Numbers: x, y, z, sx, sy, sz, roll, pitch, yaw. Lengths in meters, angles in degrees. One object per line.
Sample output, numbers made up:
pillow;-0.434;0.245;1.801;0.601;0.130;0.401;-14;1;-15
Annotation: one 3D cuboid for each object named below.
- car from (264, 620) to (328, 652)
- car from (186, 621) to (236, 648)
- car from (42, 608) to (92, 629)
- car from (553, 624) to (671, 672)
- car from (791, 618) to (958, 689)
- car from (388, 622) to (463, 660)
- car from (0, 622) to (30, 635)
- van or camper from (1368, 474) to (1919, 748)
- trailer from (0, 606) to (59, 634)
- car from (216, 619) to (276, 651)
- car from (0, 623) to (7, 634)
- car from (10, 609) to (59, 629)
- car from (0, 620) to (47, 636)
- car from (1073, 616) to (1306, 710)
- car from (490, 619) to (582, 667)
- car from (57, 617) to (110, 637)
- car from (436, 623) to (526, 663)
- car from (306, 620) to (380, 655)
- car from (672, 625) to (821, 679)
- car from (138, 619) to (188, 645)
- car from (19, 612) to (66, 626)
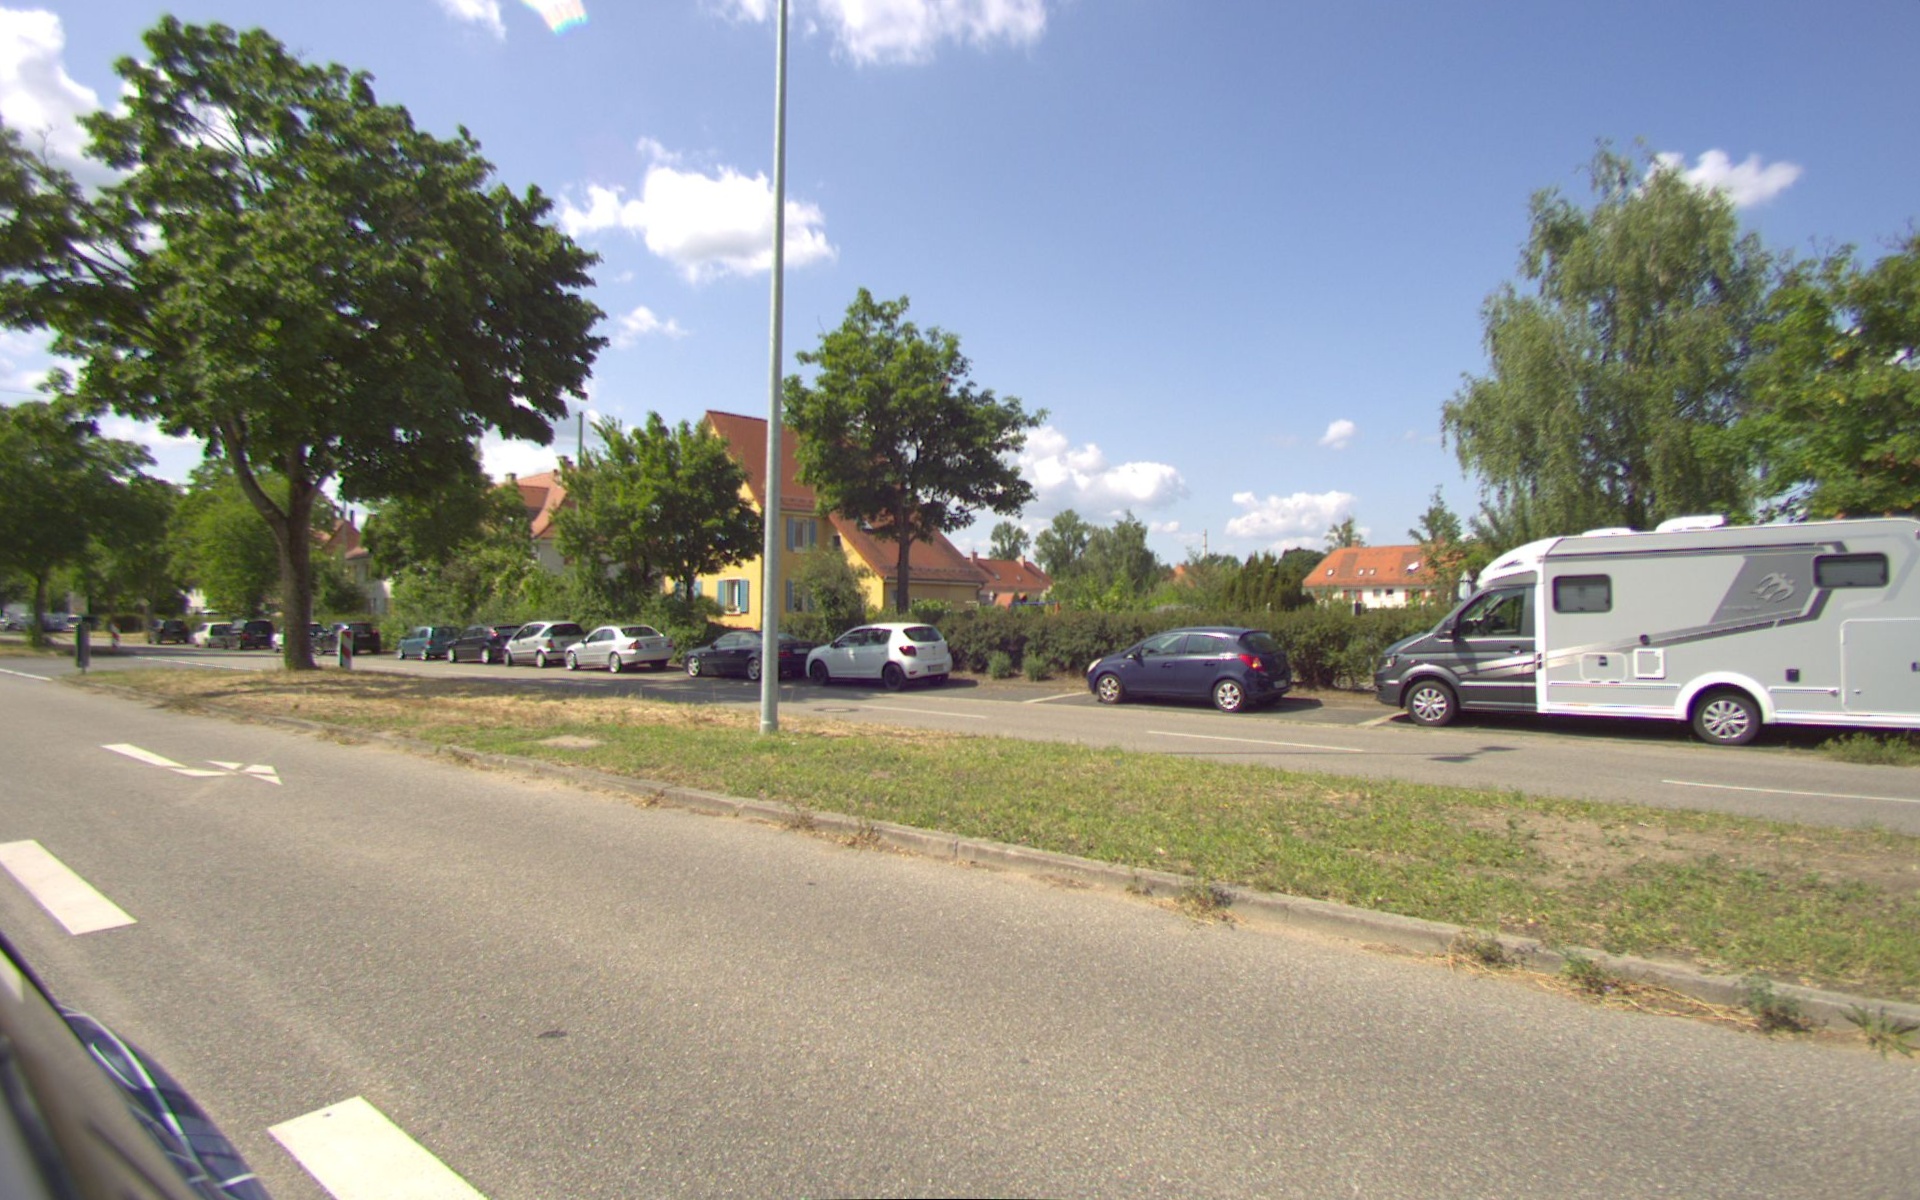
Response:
car;-34.055;1.827;51.891;3.842;1.462;1.644;0;1;39
car;-44.990;2.027;60.778;3.531;1.472;1.578;0;1;39
car;-91.270;1.866;103.488;1.778;2.029;4.003;-1;1;-3
car;-11.104;1.483;32.096;4.529;1.380;1.495;-1;0;42
car;-2.145;1.234;24.643;4.122;1.496;1.671;0;1;42
car;-22.079;1.659;41.778;3.474;1.405;1.547;0;1;40
car;-119.000;3.533;126.893;1.646;1.475;3.828;-1;1;-9
van or camper;9.859;0.165;14.187;7.320;3.135;2.234;-2;0;43
trailer;-110.614;2.300;120.308;2.781;3.132;5.768;-2;0;-13
car;-39.952;1.931;56.590;4.310;1.624;1.644;0;1;39
car;-126.558;3.798;131.762;1.646;1.358;3.828;-1;1;-9
car;-98.771;2.032;108.067;1.778;2.029;4.003;-1;1;-3
car;-102.785;3.070;110.877;1.799;1.521;3.947;0;1;40
car;4.248;1.098;19.076;3.991;1.496;1.619;0;1;42
car;-14.957;1.473;35.648;3.739;1.569;1.388;-1;0;40
car;-84.055;2.576;97.078;1.778;1.874;4.003;-1;-1;-3
car;-18.212;1.596;38.403;4.353;1.405;1.388;-1;0;40
car;-28.994;1.738;47.503;4.099;1.492;1.644;-2;0;39
car;-5.961;1.394;27.916;4.582;1.316;1.619;-2;0;42
car;-53.196;2.115;67.503;3.995;1.563;1.750;0;1;39
car;-96.923;1.997;106.981;1.550;1.408;4.003;-1;1;-3
